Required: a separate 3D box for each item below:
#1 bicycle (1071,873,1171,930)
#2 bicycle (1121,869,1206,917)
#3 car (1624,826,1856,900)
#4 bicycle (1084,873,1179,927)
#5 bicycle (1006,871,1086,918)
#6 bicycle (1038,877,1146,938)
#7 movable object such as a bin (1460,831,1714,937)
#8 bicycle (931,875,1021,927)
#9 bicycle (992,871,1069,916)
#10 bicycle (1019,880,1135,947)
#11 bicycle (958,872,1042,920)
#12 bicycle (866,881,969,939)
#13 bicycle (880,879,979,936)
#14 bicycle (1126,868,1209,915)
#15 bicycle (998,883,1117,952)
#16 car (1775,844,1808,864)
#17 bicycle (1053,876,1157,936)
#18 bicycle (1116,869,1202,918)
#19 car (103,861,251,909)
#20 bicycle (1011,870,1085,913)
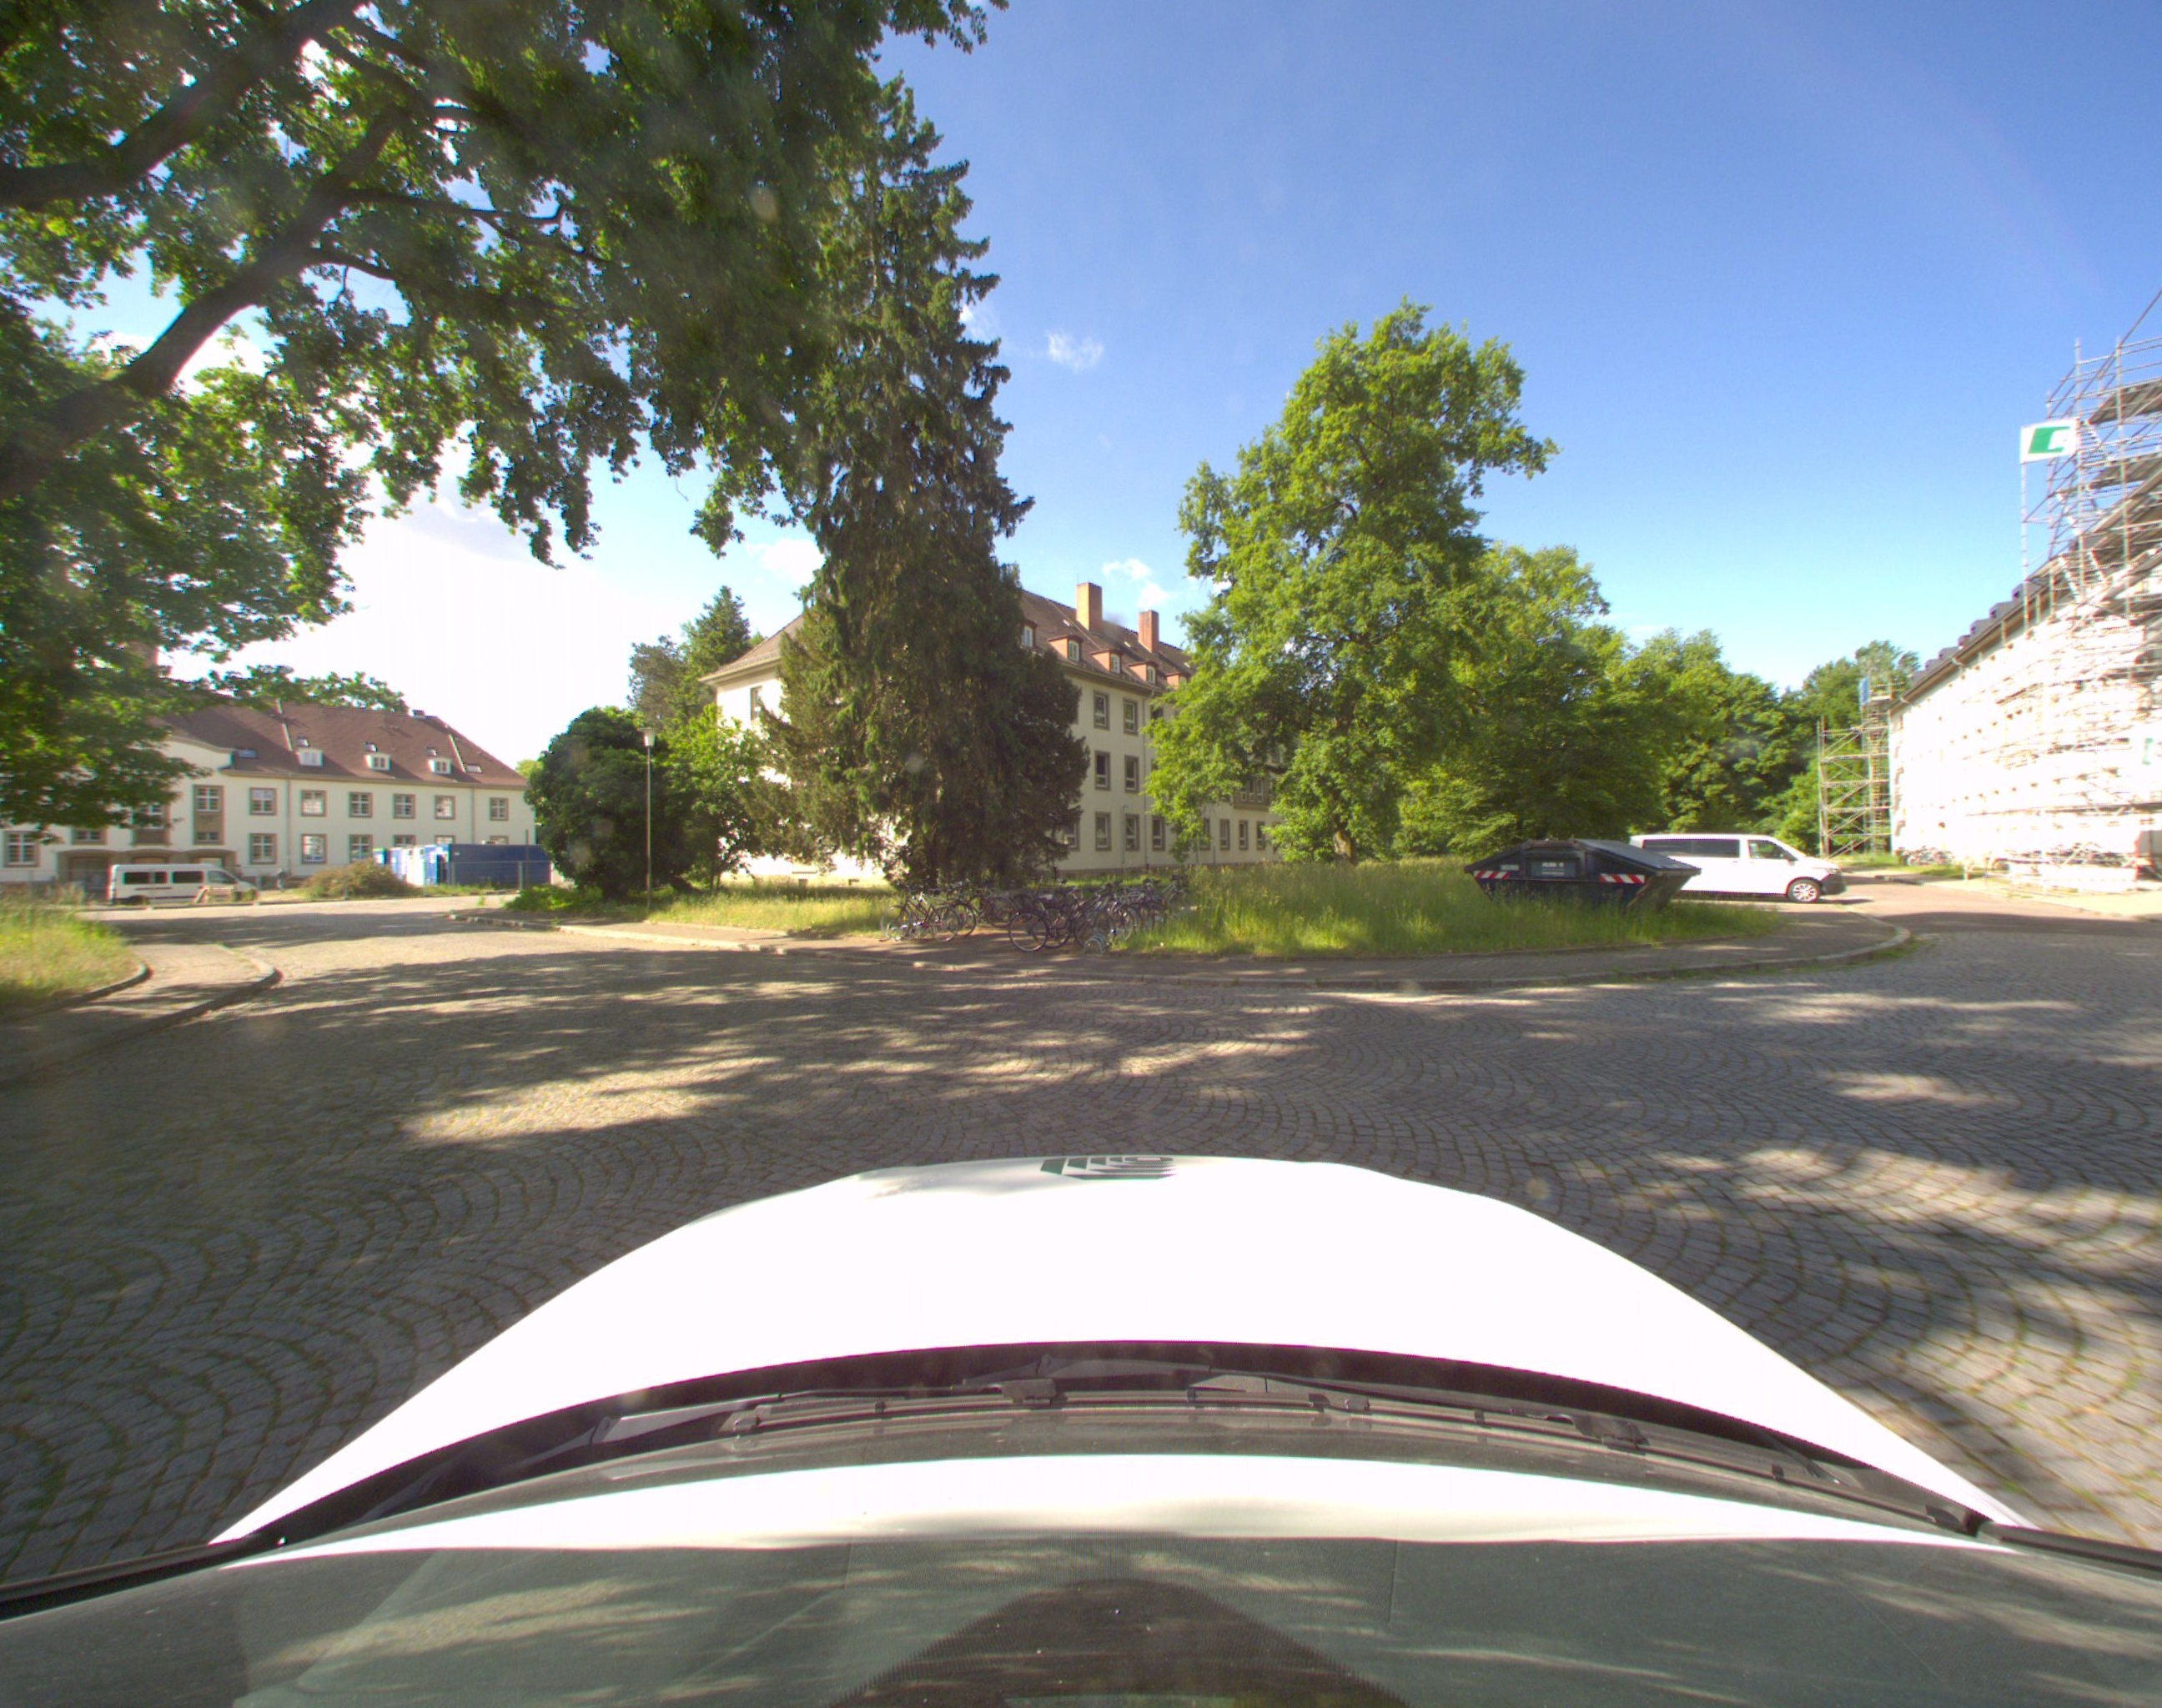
[{"bbox_3d":[0.810,0.960,16.490,1.898,1.058,0.478,-3,-1,15],"label":"bicycle"},{"bbox_3d":[1.967,0.930,19.478,1.898,1.058,0.478,-3,-1,17],"label":"bicycle"},{"bbox_3d":[19.401,0.262,24.304,5.184,2.016,1.962,-1,0,38],"label":"car"},{"bbox_3d":[1.072,0.989,17.324,1.898,1.058,0.478,-3,-1,17],"label":"bicycle"},{"bbox_3d":[-0.871,0.994,20.192,1.897,1.103,0.573,-1,1,19],"label":"bicycle"},{"bbox_3d":[0.205,1.004,15.233,1.898,1.058,0.478,-3,-1,15],"label":"bicycle"},{"bbox_3d":[9.415,0.512,15.394,2.032,1.745,3.540,-1,-1,-33],"label":"movable object such as a bin"},{"bbox_3d":[-2.347,1.048,18.301,1.901,1.103,0.572,-1,1,10],"label":"bicycle"},{"bbox_3d":[-1.307,1.013,21.197,1.897,1.103,0.573,-1,1,19],"label":"bicycle"},{"bbox_3d":[-0.065,1.036,14.176,1.902,1.058,0.477,-3,-1,9],"label":"bicycle"},{"bbox_3d":[-1.959,1.010,19.660,1.901,1.103,0.572,-1,1,10],"label":"bicycle"},{"bbox_3d":[-3.259,1.117,16.259,1.899,1.103,0.572,-2,1,14],"label":"bicycle"},{"bbox_3d":[-3.121,1.103,16.784,1.899,1.103,0.572,-2,1,14],"label":"bicycle"},{"bbox_3d":[2.111,0.929,19.926,1.898,1.058,0.478,-3,-1,17],"label":"bicycle"},{"bbox_3d":[-0.395,1.069,13.725,1.902,1.058,0.477,-3,-1,9],"label":"bicycle"},{"bbox_3d":[64.382,-0.009,73.820,1.952,1.668,4.112,-2,-1,37],"label":"car"},{"bbox_3d":[0.468,1.007,15.748,1.898,1.058,0.478,-3,-1,15],"label":"bicycle"},{"bbox_3d":[1.821,0.928,18.995,1.898,1.058,0.478,-3,-1,17],"label":"bicycle"},{"bbox_3d":[-49.232,1.633,44.458,1.965,2.437,5.310,-2,-1,39],"label":"car"},{"bbox_3d":[-0.887,1.012,22.077,1.899,1.103,0.573,-1,1,14],"label":"bicycle"}]
